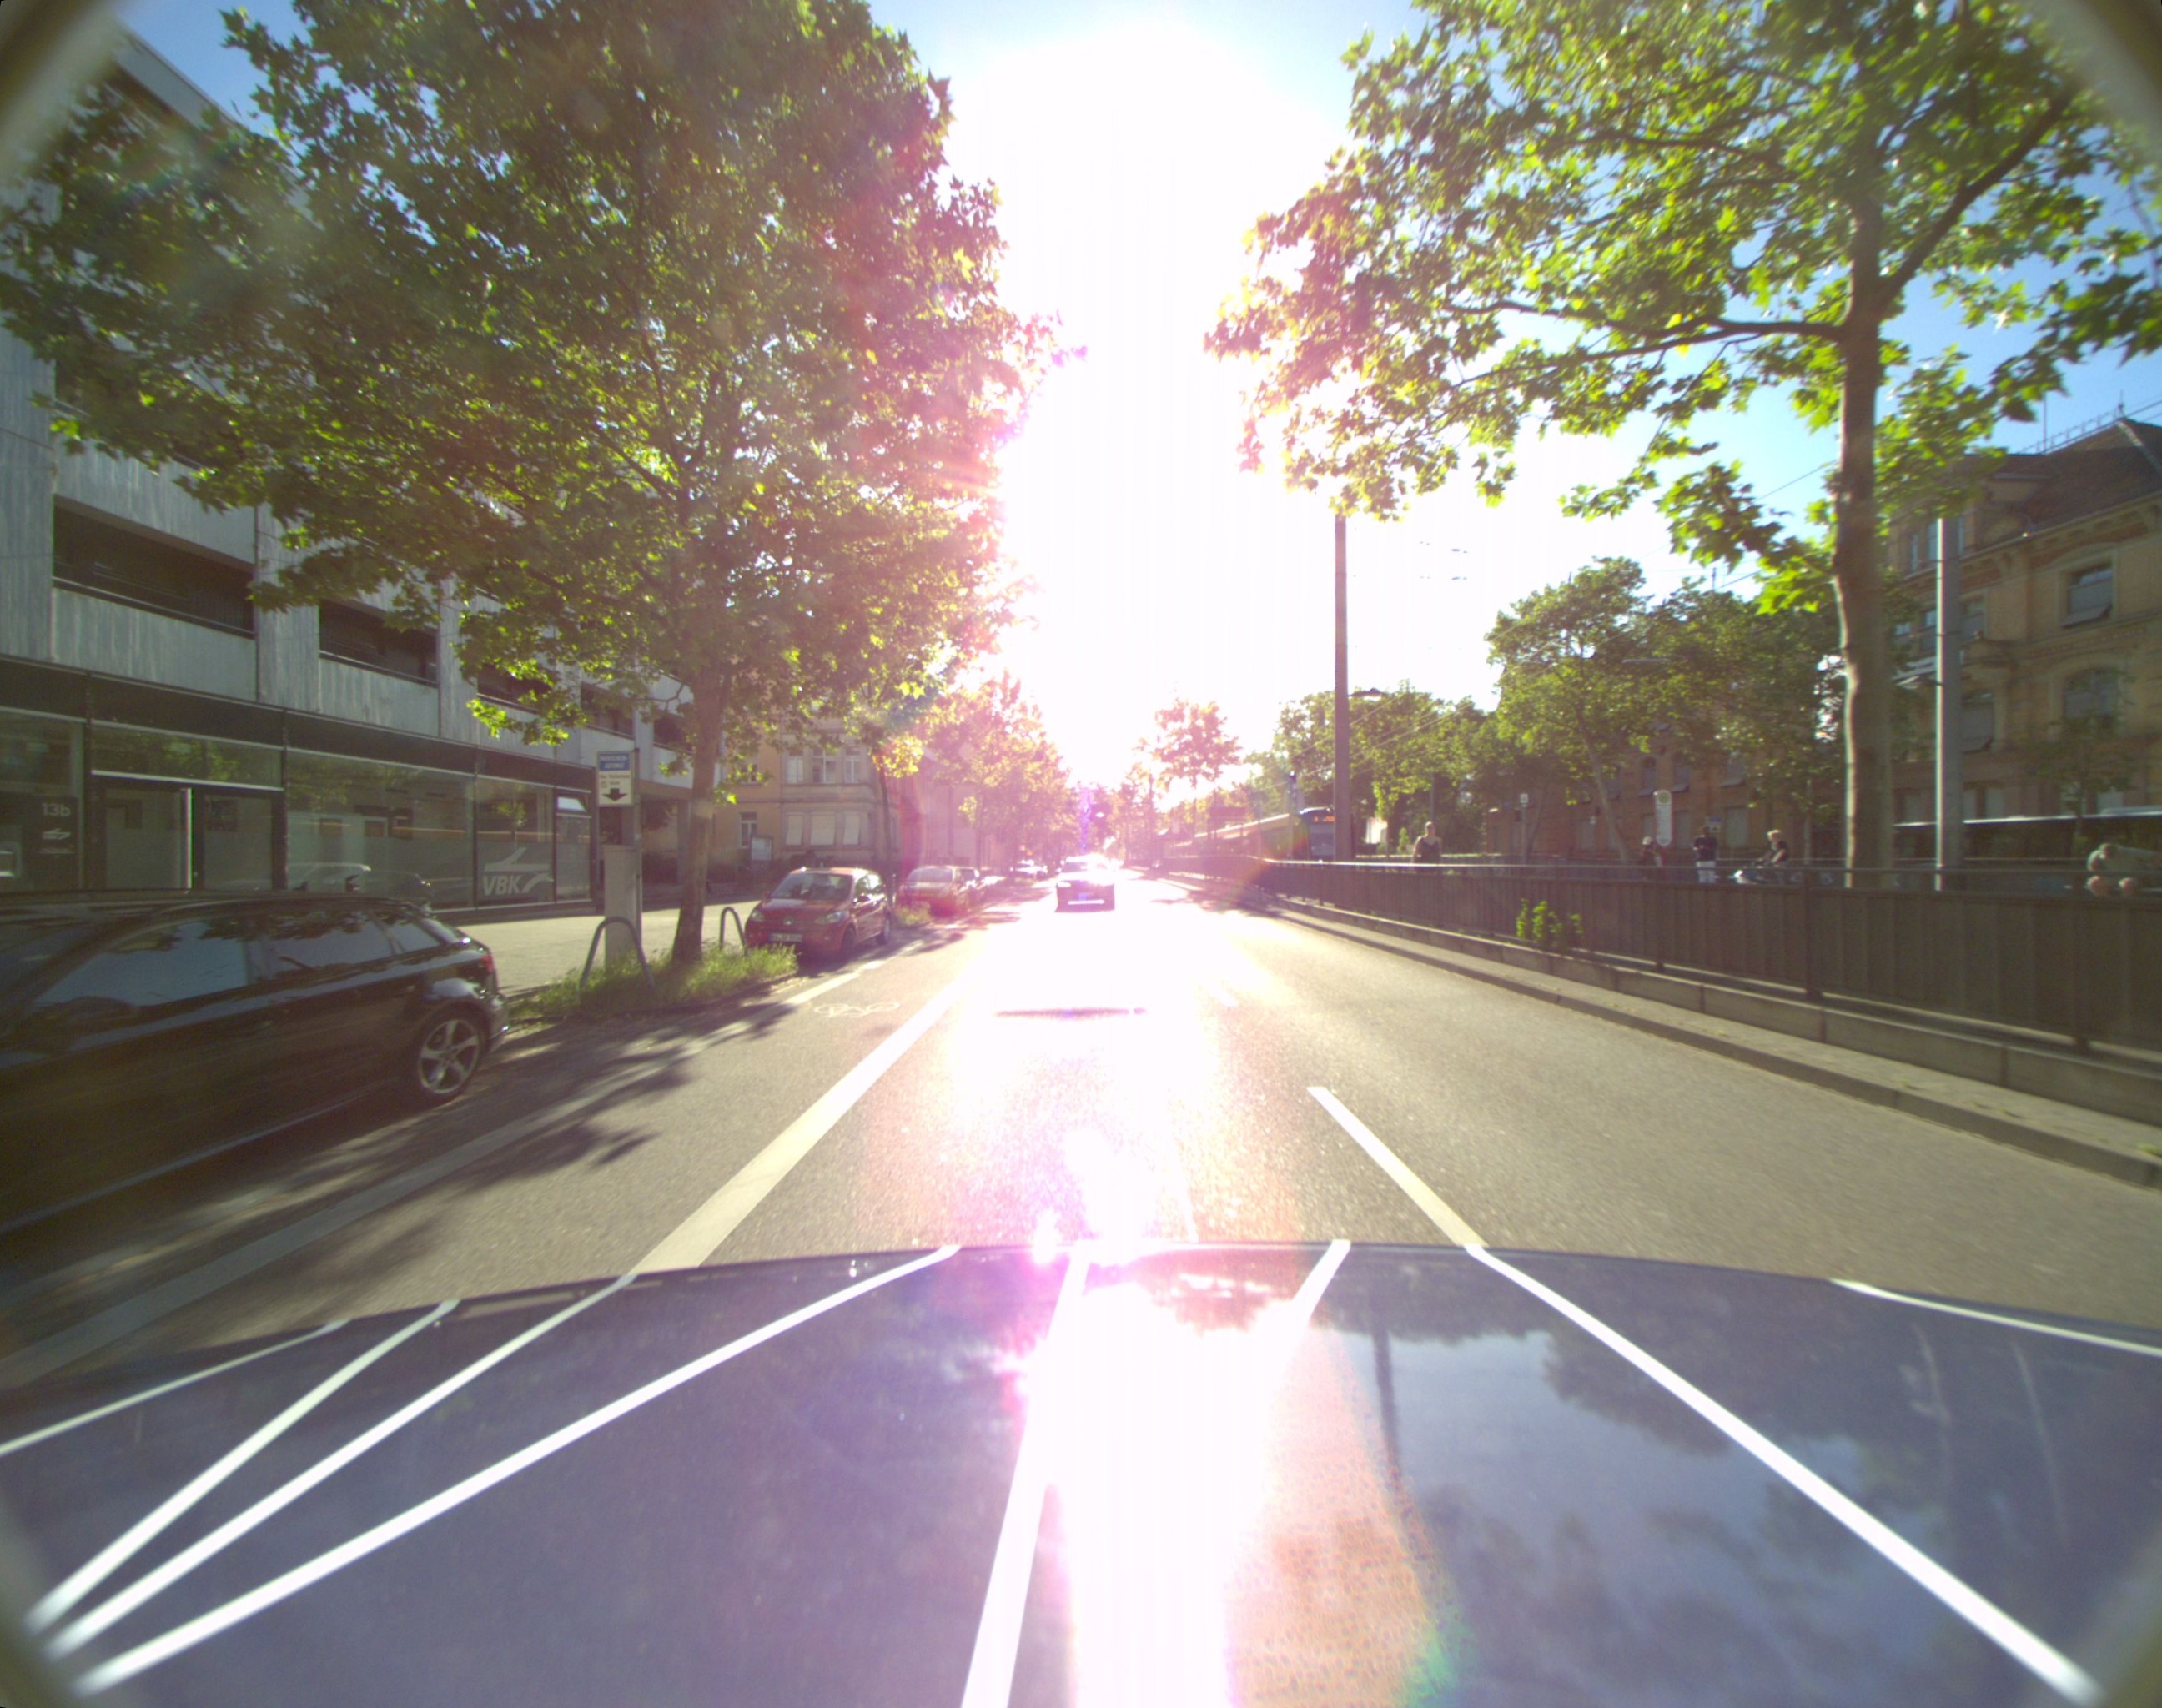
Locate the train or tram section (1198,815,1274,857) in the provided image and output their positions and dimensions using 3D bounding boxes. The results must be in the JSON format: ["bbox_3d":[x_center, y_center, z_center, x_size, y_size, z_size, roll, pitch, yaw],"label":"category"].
[{"bbox_3d":[10.711,-1.120,54.252,2.569,2.517,15.072,-1,0,1],"label":"train or tram section"}]

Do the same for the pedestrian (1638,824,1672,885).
[{"bbox_3d":[17.360,0.020,22.988,0.625,1.791,0.624,0,1,-37],"label":"pedestrian"}]

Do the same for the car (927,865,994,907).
[{"bbox_3d":[-4.479,1.169,28.841,1.781,1.373,4.276,-1,0,1],"label":"car"}]

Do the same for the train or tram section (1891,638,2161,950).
[{"bbox_3d":[13.164,-0.687,1.975,2.878,3.414,18.276,-2,0,1],"label":"train or tram section"}]

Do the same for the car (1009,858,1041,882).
[{"bbox_3d":[-3.988,1.114,54.644,1.839,1.556,4.273,-1,0,1],"label":"car"}]

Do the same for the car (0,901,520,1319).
[{"bbox_3d":[-4.971,1.058,3.392,1.733,1.395,4.295,1,0,0],"label":"car"}]

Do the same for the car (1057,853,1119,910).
[{"bbox_3d":[0.240,0.859,26.023,1.914,1.695,4.273,-1,1,1],"label":"car"}]

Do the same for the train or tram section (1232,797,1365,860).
[{"bbox_3d":[10.448,-1.064,38.887,2.569,2.549,15.674,-1,0,1],"label":"train or tram section"}]

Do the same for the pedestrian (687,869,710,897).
[{"bbox_3d":[-15.399,1.168,30.600,0.560,1.103,0.684,0,1,1],"label":"pedestrian"}]

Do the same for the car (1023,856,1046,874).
[{"bbox_3d":[-4.385,1.014,72.042,1.839,1.666,4.273,0,0,1],"label":"car"}]

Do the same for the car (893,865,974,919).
[{"bbox_3d":[-4.389,1.087,23.129,1.630,1.433,3.930,1,0,1],"label":"car"}]

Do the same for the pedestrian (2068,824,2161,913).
[{"bbox_3d":[17.811,0.243,12.980,0.728,1.453,0.879,1,1,-3],"label":"pedestrian"}]

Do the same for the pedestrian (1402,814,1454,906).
[{"bbox_3d":[6.568,0.115,14.408,0.683,1.700,0.624,-1,1,0],"label":"pedestrian"}]

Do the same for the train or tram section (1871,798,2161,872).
[{"bbox_3d":[34.550,-0.621,27.955,2.651,2.314,8.077,-1,0,1],"label":"train or tram section"}]

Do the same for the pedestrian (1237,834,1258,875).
[{"bbox_3d":[6.732,0.022,30.730,0.700,1.626,0.761,-1,1,1],"label":"pedestrian"}]

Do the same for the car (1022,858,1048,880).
[{"bbox_3d":[-3.836,1.253,64.394,1.839,1.666,4.273,-1,0,1],"label":"car"}]

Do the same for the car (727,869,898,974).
[{"bbox_3d":[-4.517,1.061,13.359,1.677,1.430,3.689,2,1,0],"label":"car"}]

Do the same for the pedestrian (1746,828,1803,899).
[{"bbox_3d":[17.587,0.241,19.280,0.676,1.746,0.813,-1,1,-2],"label":"pedestrian"}]

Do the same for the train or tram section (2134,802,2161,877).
[{"bbox_3d":[34.367,-0.461,18.874,2.651,2.314,10.057,-1,0,1],"label":"train or tram section"}]

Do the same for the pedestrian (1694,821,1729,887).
[{"bbox_3d":[17.470,0.001,21.050,0.625,1.791,0.624,0,1,-40],"label":"pedestrian"}]
